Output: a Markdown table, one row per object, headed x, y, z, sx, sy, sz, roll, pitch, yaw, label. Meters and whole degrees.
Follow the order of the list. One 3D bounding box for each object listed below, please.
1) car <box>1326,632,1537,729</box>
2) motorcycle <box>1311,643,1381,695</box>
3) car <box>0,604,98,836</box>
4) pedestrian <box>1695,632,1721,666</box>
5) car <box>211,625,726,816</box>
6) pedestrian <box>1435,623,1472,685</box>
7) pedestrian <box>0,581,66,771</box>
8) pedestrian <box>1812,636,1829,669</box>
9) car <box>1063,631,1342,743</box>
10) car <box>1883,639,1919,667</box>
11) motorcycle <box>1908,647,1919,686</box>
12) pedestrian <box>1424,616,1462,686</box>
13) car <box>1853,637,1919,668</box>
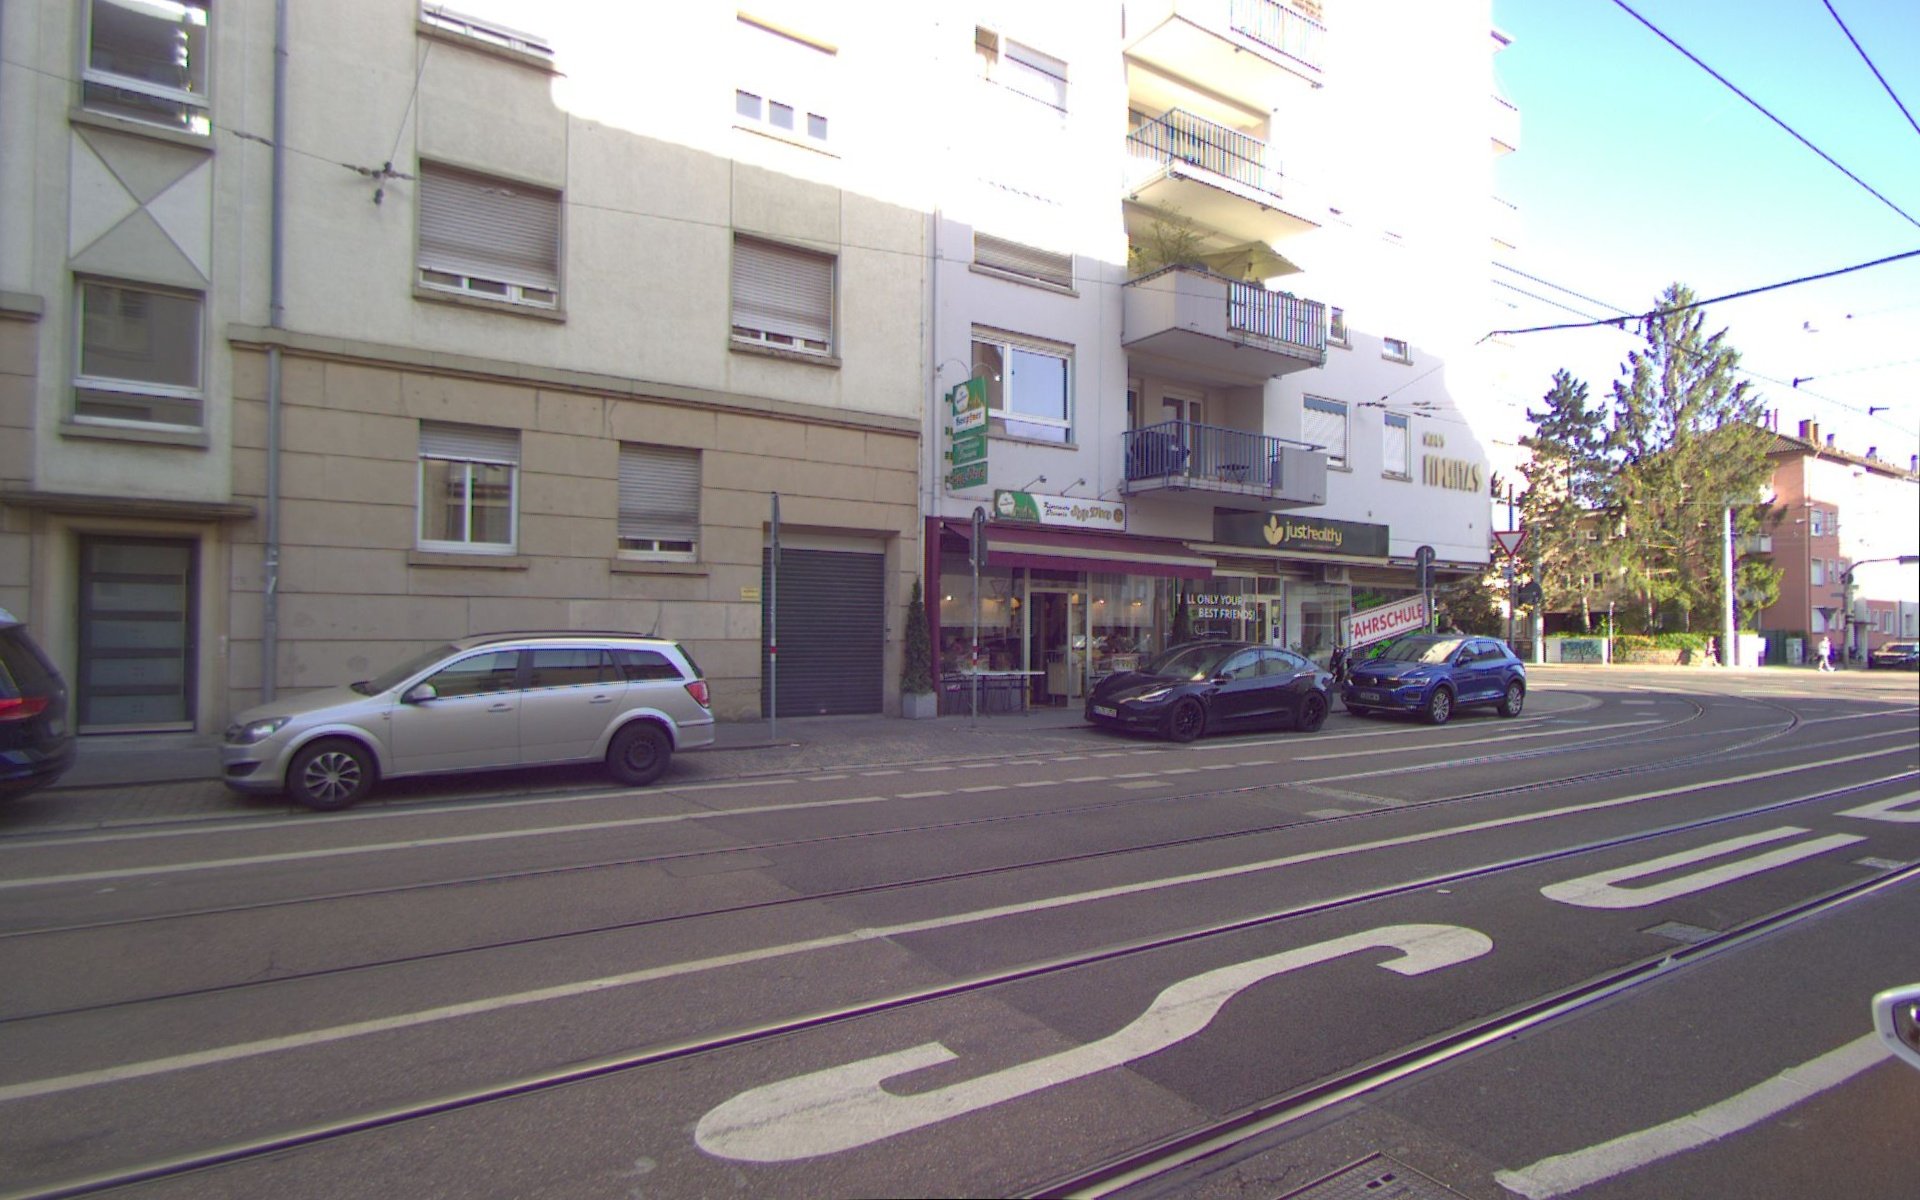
| x | y | z | sx | sy | sz | roll | pitch | yaw | label |
| --- | --- | --- | --- | --- | --- | --- | --- | --- | --- |
| 8.942 | 1.431 | 18.954 | 4.196 | 1.524 | 1.757 | 1 | 1 | -35 | car |
| 9.155 | 1.626 | 23.812 | 1.778 | 1.149 | 0.603 | 2 | 0 | -34 | motorcycle |
| -9.091 | 0.845 | 7.129 | 4.281 | 1.655 | 1.803 | 2 | 0 | -35 | car |
| 38.553 | 2.519 | 51.775 | 0.768 | 1.744 | 0.705 | 2 | 0 | 4 | pedestrian |
| -4.753 | 1.064 | 10.102 | 4.327 | 1.474 | 1.714 | 2 | 0 | -35 | car |
| 14.652 | 1.601 | 29.840 | 0.653 | 1.816 | 0.733 | 1 | -1 | -26 | pedestrian |
| -9.333 | 0.715 | 9.685 | 0.998 | 1.791 | 0.656 | 2 | 0 | -40 | pedestrian |
| 42.434 | 2.567 | 49.517 | 0.568 | 1.589 | 0.512 | 2 | 0 | -39 | pedestrian |
| 3.917 | 1.304 | 15.962 | 4.397 | 1.494 | 1.759 | 2 | 0 | -33 | car |
| 53.708 | 2.972 | 56.298 | 4.057 | 1.455 | 1.893 | 2 | 0 | -32 | car |
| 27.098 | 1.860 | 27.306 | 0.841 | 1.060 | 1.942 | 2 | 0 | 1 | motorcycle |
| 13.629 | 1.428 | 28.347 | 0.727 | 1.925 | 0.573 | 3 | -2 | -15 | pedestrian |
| 49.775 | 2.836 | 53.620 | 4.397 | 1.450 | 2.140 | 4 | -2 | -35 | car |
